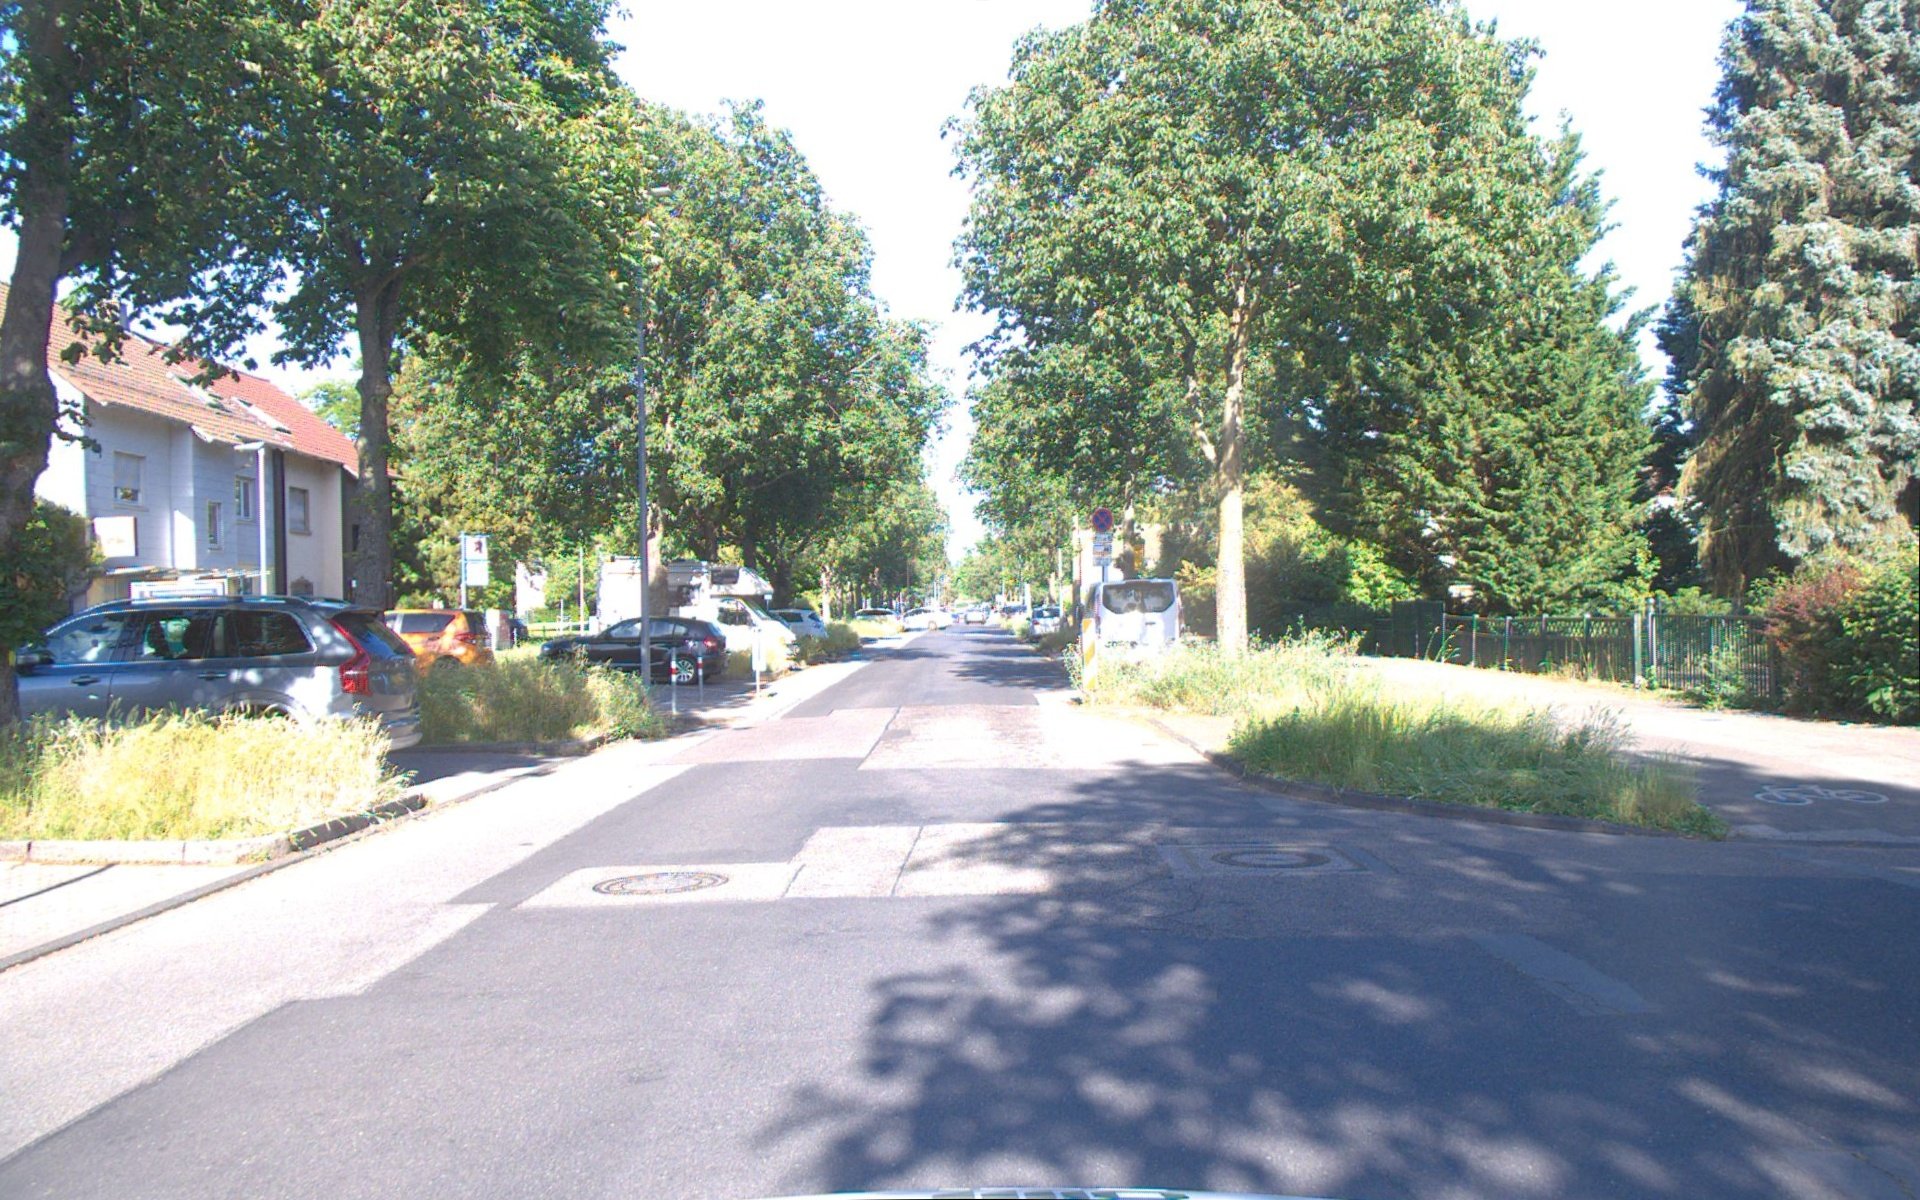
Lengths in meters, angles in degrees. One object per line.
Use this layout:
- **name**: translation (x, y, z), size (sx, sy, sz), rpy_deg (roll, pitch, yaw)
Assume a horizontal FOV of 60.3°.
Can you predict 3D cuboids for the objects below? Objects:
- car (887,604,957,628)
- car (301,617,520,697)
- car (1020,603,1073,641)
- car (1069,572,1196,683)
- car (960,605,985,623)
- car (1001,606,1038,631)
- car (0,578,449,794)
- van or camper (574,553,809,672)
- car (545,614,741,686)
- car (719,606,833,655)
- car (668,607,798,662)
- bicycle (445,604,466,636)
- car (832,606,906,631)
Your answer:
- **car**: translation (-2.458, 1.064, 107.838), size (4.124, 1.480, 2.000), rpy_deg (-1, -1, 21)
- **car**: translation (-11.146, 1.143, 33.777), size (3.909, 1.569, 1.868), rpy_deg (0, -1, -5)
- **car**: translation (3.791, 0.962, 71.827), size (1.951, 1.537, 4.003), rpy_deg (-2, -1, 7)
- **car**: translation (3.477, 0.566, 34.312), size (1.953, 2.049, 5.195), rpy_deg (2, -1, -1)
- **car**: translation (1.123, 1.297, 151.433), size (1.954, 1.534, 3.655), rpy_deg (2, -1, -4)
- **car**: translation (4.025, 1.253, 112.647), size (1.955, 1.650, 4.376), rpy_deg (2, -1, -6)
- **car**: translation (-7.505, 0.734, 15.186), size (4.961, 1.758, 1.998), rpy_deg (2, -1, -4)
- **van or camper**: translation (-6.938, 0.326, 43.078), size (5.656, 2.854, 2.000), rpy_deg (2, -1, 2)
- **car**: translation (-6.910, 1.086, 36.248), size (3.903, 1.475, 1.640), rpy_deg (1, -1, 3)
- **car**: translation (-6.626, 1.087, 59.801), size (3.906, 1.690, 1.966), rpy_deg (-1, 0, -1)
- **car**: translation (-7.341, 1.114, 53.779), size (3.906, 1.617, 1.999), rpy_deg (2, -1, -1)
- **bicycle**: translation (-19.733, 0.759, 64.705), size (0.692, 1.197, 4.039), rpy_deg (-1, 0, -16)
- **car**: translation (-5.824, 1.186, 106.071), size (4.574, 1.530, 2.000), rpy_deg (-1, -1, 1)
